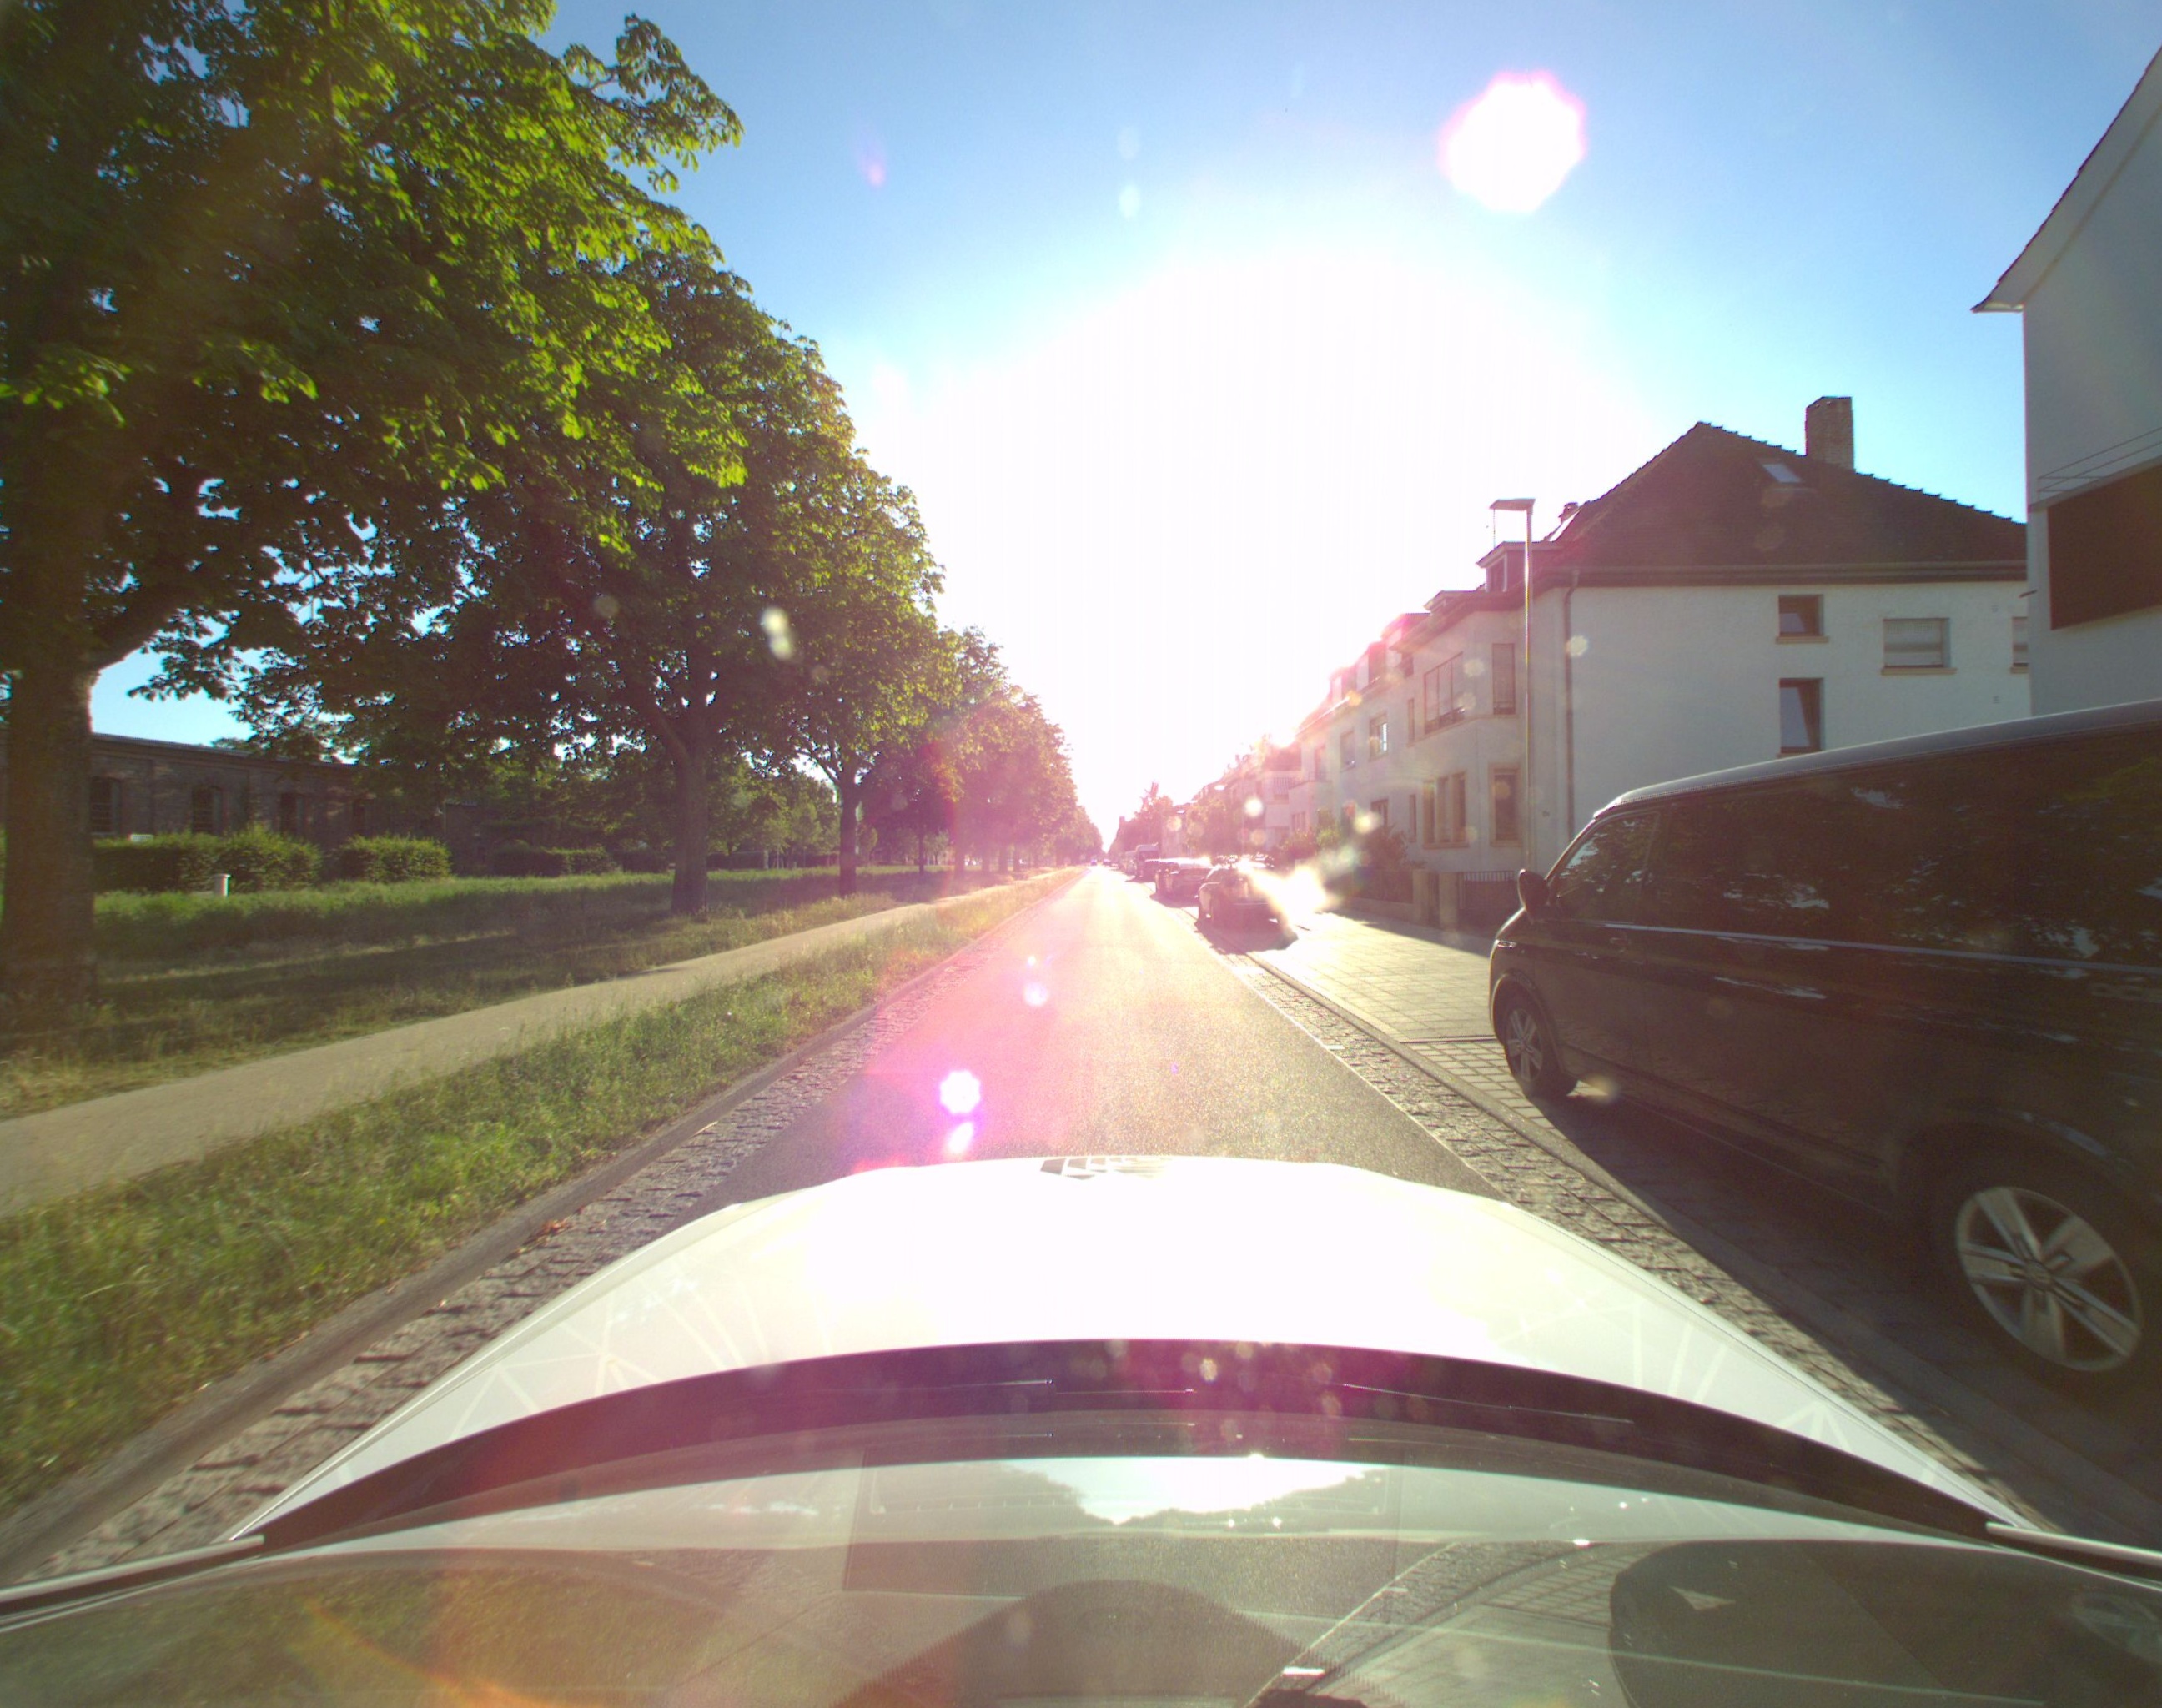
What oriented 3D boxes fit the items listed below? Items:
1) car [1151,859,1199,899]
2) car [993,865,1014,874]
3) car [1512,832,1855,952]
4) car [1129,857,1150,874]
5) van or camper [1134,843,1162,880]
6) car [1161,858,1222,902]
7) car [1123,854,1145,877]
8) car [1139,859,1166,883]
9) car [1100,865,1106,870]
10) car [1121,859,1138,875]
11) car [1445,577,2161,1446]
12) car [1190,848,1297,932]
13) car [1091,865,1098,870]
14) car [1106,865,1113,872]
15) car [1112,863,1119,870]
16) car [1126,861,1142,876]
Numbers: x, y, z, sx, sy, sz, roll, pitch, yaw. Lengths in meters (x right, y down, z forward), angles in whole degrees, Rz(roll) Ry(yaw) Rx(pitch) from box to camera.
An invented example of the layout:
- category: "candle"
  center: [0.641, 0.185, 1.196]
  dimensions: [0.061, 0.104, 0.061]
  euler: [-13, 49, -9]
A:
- category: "car"
  center: [4.254, 1.085, 37.453]
  dimensions: [1.825, 1.685, 4.417]
  euler: [2, 0, 2]
- category: "car"
  center: [-16.061, 3.252, 168.434]
  dimensions: [4.342, 1.764, 1.995]
  euler: [1, -1, -7]
- category: "car"
  center: [9.538, 0.575, 13.139]
  dimensions: [4.206, 1.726, 1.852]
  euler: [-1, -1, -2]
- category: "car"
  center: [5.968, 1.145, 83.684]
  dimensions: [1.831, 1.636, 4.131]
  euler: [-1, -1, 0]
- category: "van or camper"
  center: [5.292, 0.661, 65.144]
  dimensions: [1.936, 2.778, 5.942]
  euler: [1, -1, 2]
- category: "car"
  center: [4.231, 0.989, 31.781]
  dimensions: [1.713, 1.574, 4.207]
  euler: [0, -1, -2]
- category: "car"
  center: [6.180, 1.326, 95.367]
  dimensions: [2.119, 2.533, 5.187]
  euler: [-1, -1, 0]
- category: "car"
  center: [5.098, 1.183, 58.626]
  dimensions: [1.657, 1.593, 4.087]
  euler: [-3, -1, 2]
- category: "car"
  center: [6.253, 3.831, 231.939]
  dimensions: [1.856, 1.597, 3.870]
  euler: [1, -1, 1]
- category: "car"
  center: [6.471, 1.679, 109.645]
  dimensions: [2.118, 2.067, 5.190]
  euler: [-1, -1, 2]
- category: "car"
  center: [3.674, 0.378, 3.828]
  dimensions: [1.898, 2.132, 4.817]
  euler: [-2, -1, 3]
- category: "car"
  center: [3.861, 0.807, 20.101]
  dimensions: [1.787, 1.771, 4.474]
  euler: [-2, -1, 2]
- category: "car"
  center: [3.747, 3.789, 229.347]
  dimensions: [1.856, 1.597, 3.870]
  euler: [1, -1, 1]
- category: "car"
  center: [7.029, 3.650, 201.423]
  dimensions: [1.856, 1.597, 3.894]
  euler: [1, -1, 1]
- category: "car"
  center: [7.749, 2.819, 182.947]
  dimensions: [1.643, 1.530, 3.853]
  euler: [-1, -1, 3]
- category: "car"
  center: [5.747, 1.604, 89.076]
  dimensions: [1.643, 1.530, 3.853]
  euler: [-1, -1, 3]
